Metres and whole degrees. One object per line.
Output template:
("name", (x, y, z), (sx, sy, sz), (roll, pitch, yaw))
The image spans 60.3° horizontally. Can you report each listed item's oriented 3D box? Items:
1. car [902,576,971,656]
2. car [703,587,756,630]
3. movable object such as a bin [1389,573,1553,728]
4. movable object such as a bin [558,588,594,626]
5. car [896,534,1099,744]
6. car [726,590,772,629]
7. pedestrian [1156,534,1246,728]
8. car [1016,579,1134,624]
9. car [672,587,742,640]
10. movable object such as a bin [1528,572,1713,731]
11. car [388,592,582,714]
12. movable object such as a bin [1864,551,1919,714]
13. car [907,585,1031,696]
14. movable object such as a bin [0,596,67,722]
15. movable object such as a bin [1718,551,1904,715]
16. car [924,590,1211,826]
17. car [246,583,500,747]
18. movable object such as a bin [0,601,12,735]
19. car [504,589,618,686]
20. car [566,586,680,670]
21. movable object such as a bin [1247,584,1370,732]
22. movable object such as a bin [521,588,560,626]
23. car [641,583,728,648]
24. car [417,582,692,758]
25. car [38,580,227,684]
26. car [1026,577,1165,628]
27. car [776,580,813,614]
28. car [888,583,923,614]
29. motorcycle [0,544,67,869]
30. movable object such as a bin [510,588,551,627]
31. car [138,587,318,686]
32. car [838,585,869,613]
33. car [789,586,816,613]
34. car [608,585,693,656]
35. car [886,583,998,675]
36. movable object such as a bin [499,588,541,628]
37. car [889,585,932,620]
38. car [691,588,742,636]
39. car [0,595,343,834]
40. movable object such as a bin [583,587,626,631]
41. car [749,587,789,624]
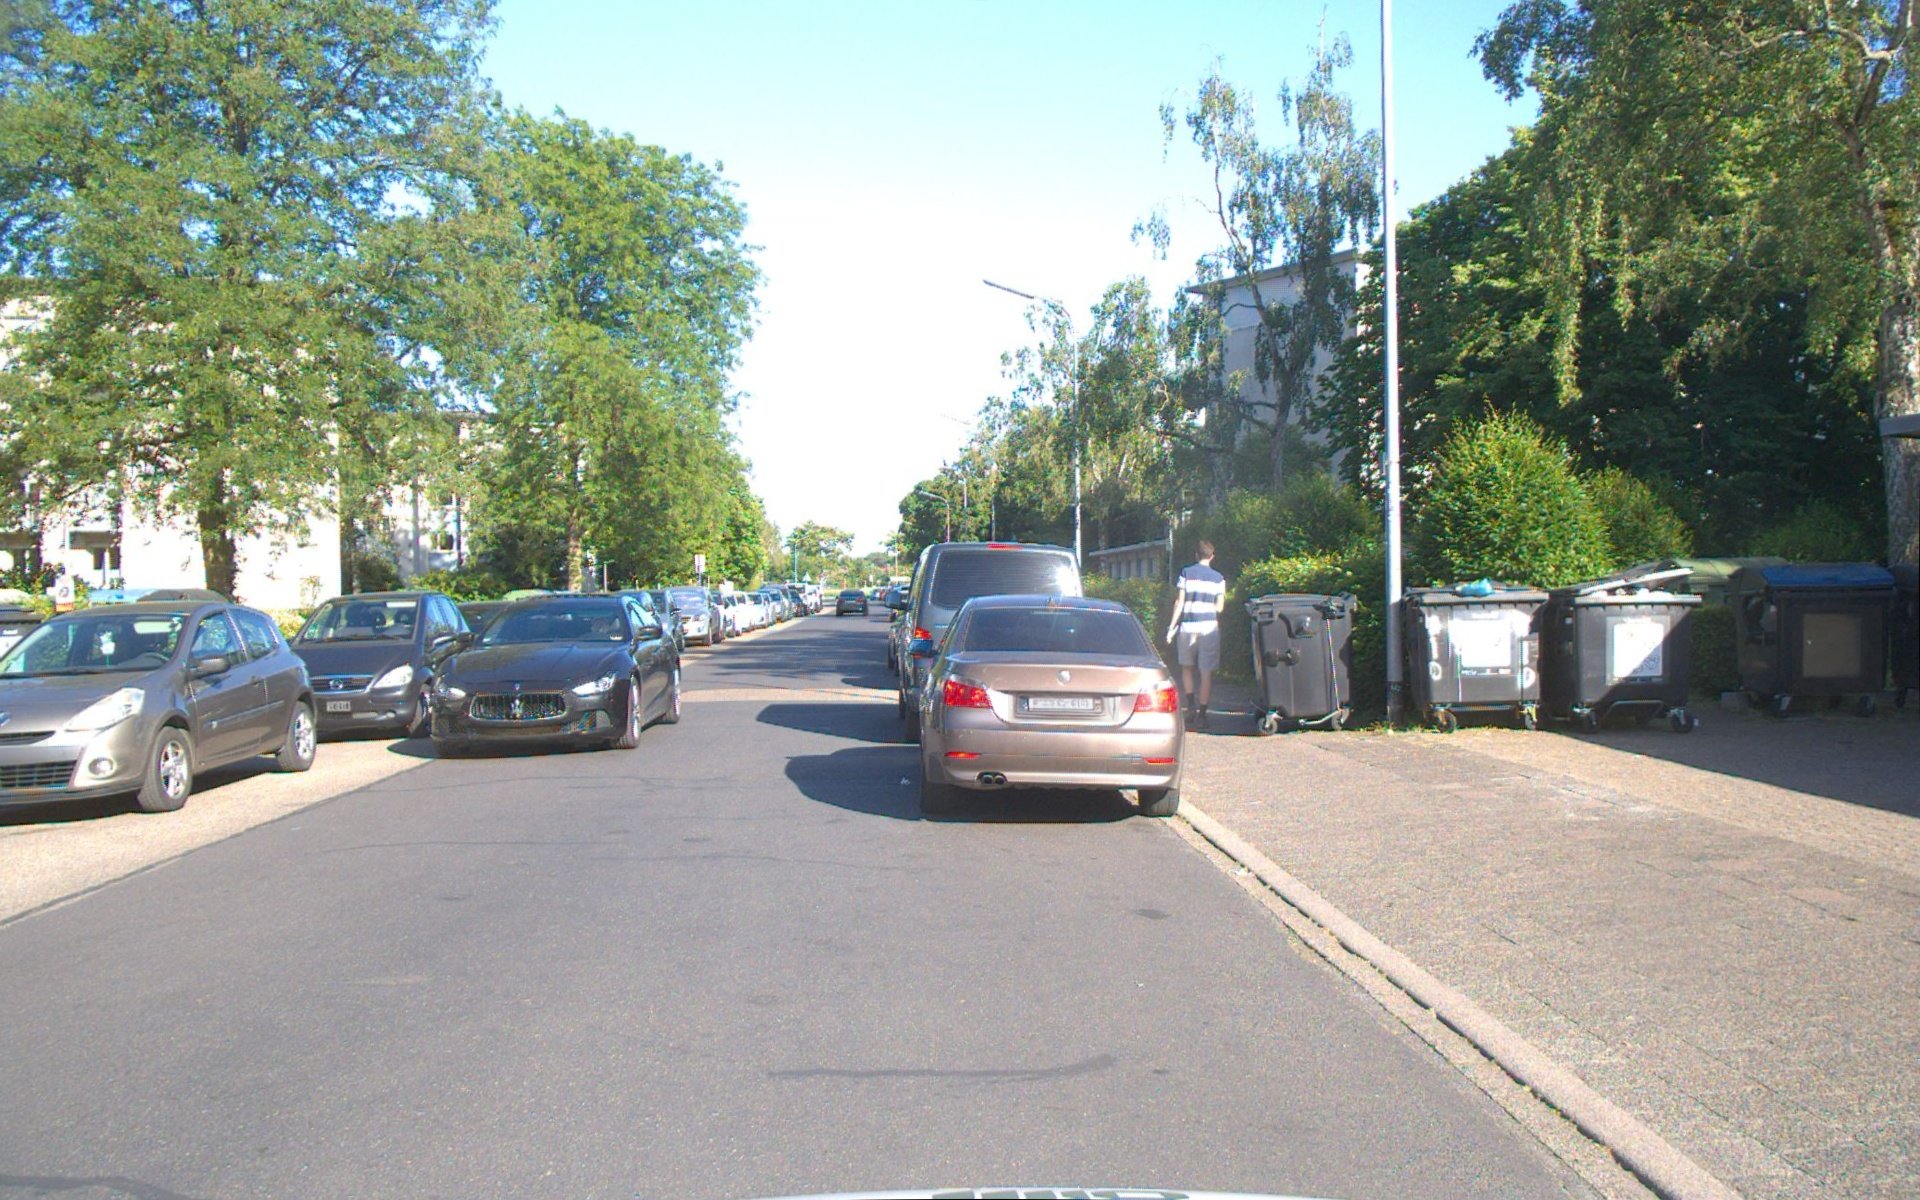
("car", (-0.555, 0.344, 37.639), (1.459, 1.748, 2.581), (1, 0, -3))
("car", (-8.776, 0.302, 63.242), (1.653, 1.561, 3.888), (-2, 0, -3))
("movable object such as a bin", (4.793, 0.455, 15.605), (1.198, 1.389, 1.133), (-1, 0, 1))
("movable object such as a bin", (-15.346, 0.279, 66.063), (1.111, 1.445, 1.360), (2, 0, -1))
("car", (0.270, 0.357, 17.989), (1.816, 1.968, 4.701), (1, 0, -3))
("car", (-8.771, 0.358, 68.910), (1.653, 1.532, 3.814), (-2, 0, -4))
("pedestrian", (2.494, 0.310, 17.207), (0.689, 1.921, 0.872), (-3, 0, -2))
("car", (4.375, 0.049, 63.467), (4.326, 1.540, 1.828), (-2, 0, -3))
("car", (-7.920, 0.403, 52.064), (1.629, 1.539, 3.944), (-2, 0, -2))
("movable object such as a bin", (6.073, 0.451, 15.279), (1.250, 1.389, 1.133), (-1, 0, 1))
("car", (-6.794, 0.694, 24.152), (1.720, 1.506, 4.534), (-3, 1, -4))
("movable object such as a bin", (9.727, 0.290, 16.079), (1.250, 1.491, 1.134), (-1, 4, 1))
("car", (0.065, 0.548, 24.867), (1.591, 1.516, 4.033), (1, 0, -3))
("movable object such as a bin", (-11.011, 0.642, 18.656), (1.154, 1.363, 1.343), (0, 0, -1))
("movable object such as a bin", (8.368, 0.299, 16.333), (1.250, 1.491, 1.134), (-1, 4, 1))
("car", (0.617, 0.651, 12.490), (1.764, 1.443, 4.635), (0, 0, -1))
("car", (-6.575, 0.654, 18.942), (1.720, 1.601, 3.717), (-3, 1, -4))
("movable object such as a bin", (-10.838, 0.736, 17.228), (1.154, 1.432, 1.342), (0, 0, -2))
("car", (-7.238, 0.646, 30.247), (1.416, 1.601, 3.140), (-3, 1, -4))
("car", (-7.299, 0.555, 36.163), (1.719, 1.634, 3.967), (-3, 1, -2))
("movable object such as a bin", (3.442, 0.551, 16.462), (1.004, 1.332, 1.388), (-4, 0, 7))
("movable object such as a bin", (-16.585, 0.281, 65.420), (1.153, 1.445, 1.462), (2, 0, -1))
("car", (-7.667, 0.396, 46.380), (1.865, 1.668, 4.346), (-2, 0, -3))
("car", (-3.955, 0.592, 16.934), (1.872, 1.502, 4.568), (-2, 1, -3))
("car", (-14.249, 0.500, 28.705), (1.539, 1.669, 3.996), (0, 0, -5))
("car", (4.499, 0.068, 55.260), (4.422, 1.540, 1.828), (-2, 0, -2))
("car", (-10.094, -0.198, 100.952), (1.876, 1.996, 5.085), (-2, 0, -2))
("car", (-3.075, -0.115, 92.308), (1.870, 1.668, 4.626), (0, 0, -3))
("motorcycle", (-6.337, 0.636, 9.106), (2.213, 1.756, 0.931), (-3, 0, -6))
("movable object such as a bin", (-16.580, 0.283, 63.899), (1.153, 1.445, 1.462), (2, 0, -1))
("car", (-12.305, 0.563, 28.046), (1.539, 1.552, 3.996), (0, 0, -5))
("car", (-6.060, -0.093, 94.102), (1.647, 1.540, 4.100), (1, 0, -5))
("car", (-10.384, -0.034, 109.275), (1.713, 1.699, 4.373), (-2, 0, -5))
("car", (-7.625, 0.476, 41.056), (1.603, 1.634, 3.532), (-2, 0, -4))
("car", (-0.401, 0.482, 30.578), (1.698, 1.516, 4.496), (-2, 1, -5))
("movable object such as a bin", (-16.486, 0.298, 62.047), (1.153, 1.445, 1.462), (2, 0, -1))
("car", (-2.313, 0.100, 75.968), (1.719, 1.540, 4.100), (1, 0, -5))
("car", (-8.368, 0.388, 56.740), (1.632, 1.539, 3.531), (-2, 0, -9))
("car", (-6.417, 0.778, 12.901), (1.719, 1.506, 3.958), (-3, 1, -1))
("movable object such as a bin", (-11.727, 0.290, 54.609), (1.113, 1.407, 1.441), (2, 0, -1))
("car", (-9.136, 0.259, 79.349), (1.676, 1.628, 3.982), (-3, 1, -4))
